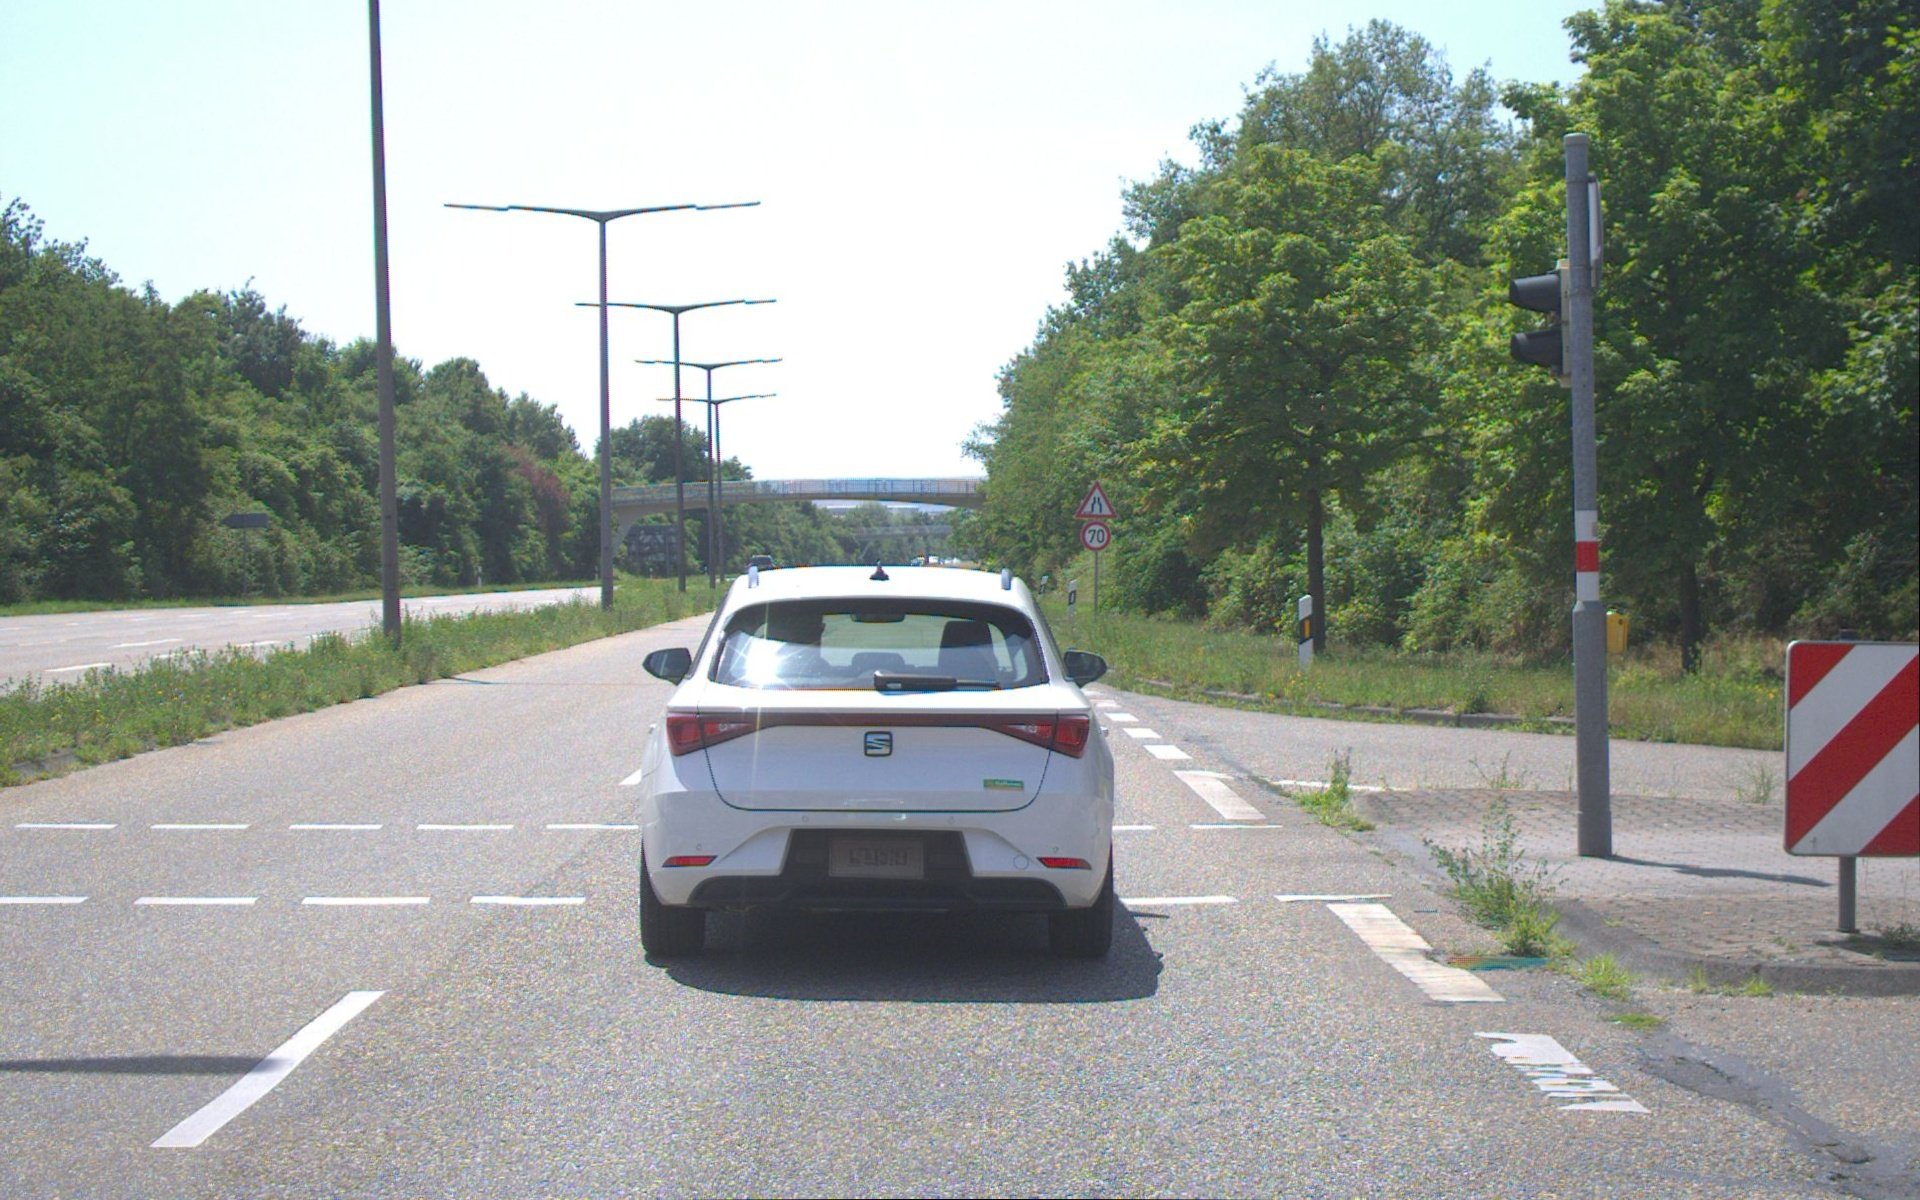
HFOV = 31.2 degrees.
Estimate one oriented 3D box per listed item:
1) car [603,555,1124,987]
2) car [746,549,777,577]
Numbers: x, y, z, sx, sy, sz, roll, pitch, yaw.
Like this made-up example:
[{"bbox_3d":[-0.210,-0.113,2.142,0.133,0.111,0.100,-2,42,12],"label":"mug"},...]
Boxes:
[{"bbox_3d":[-0.330,0.571,13.515,1.734,1.424,3.694,1,0,0],"label":"car"},{"bbox_3d":[-12.960,-2.432,225.082,1.855,1.703,4.000,-1,1,-1],"label":"car"}]
